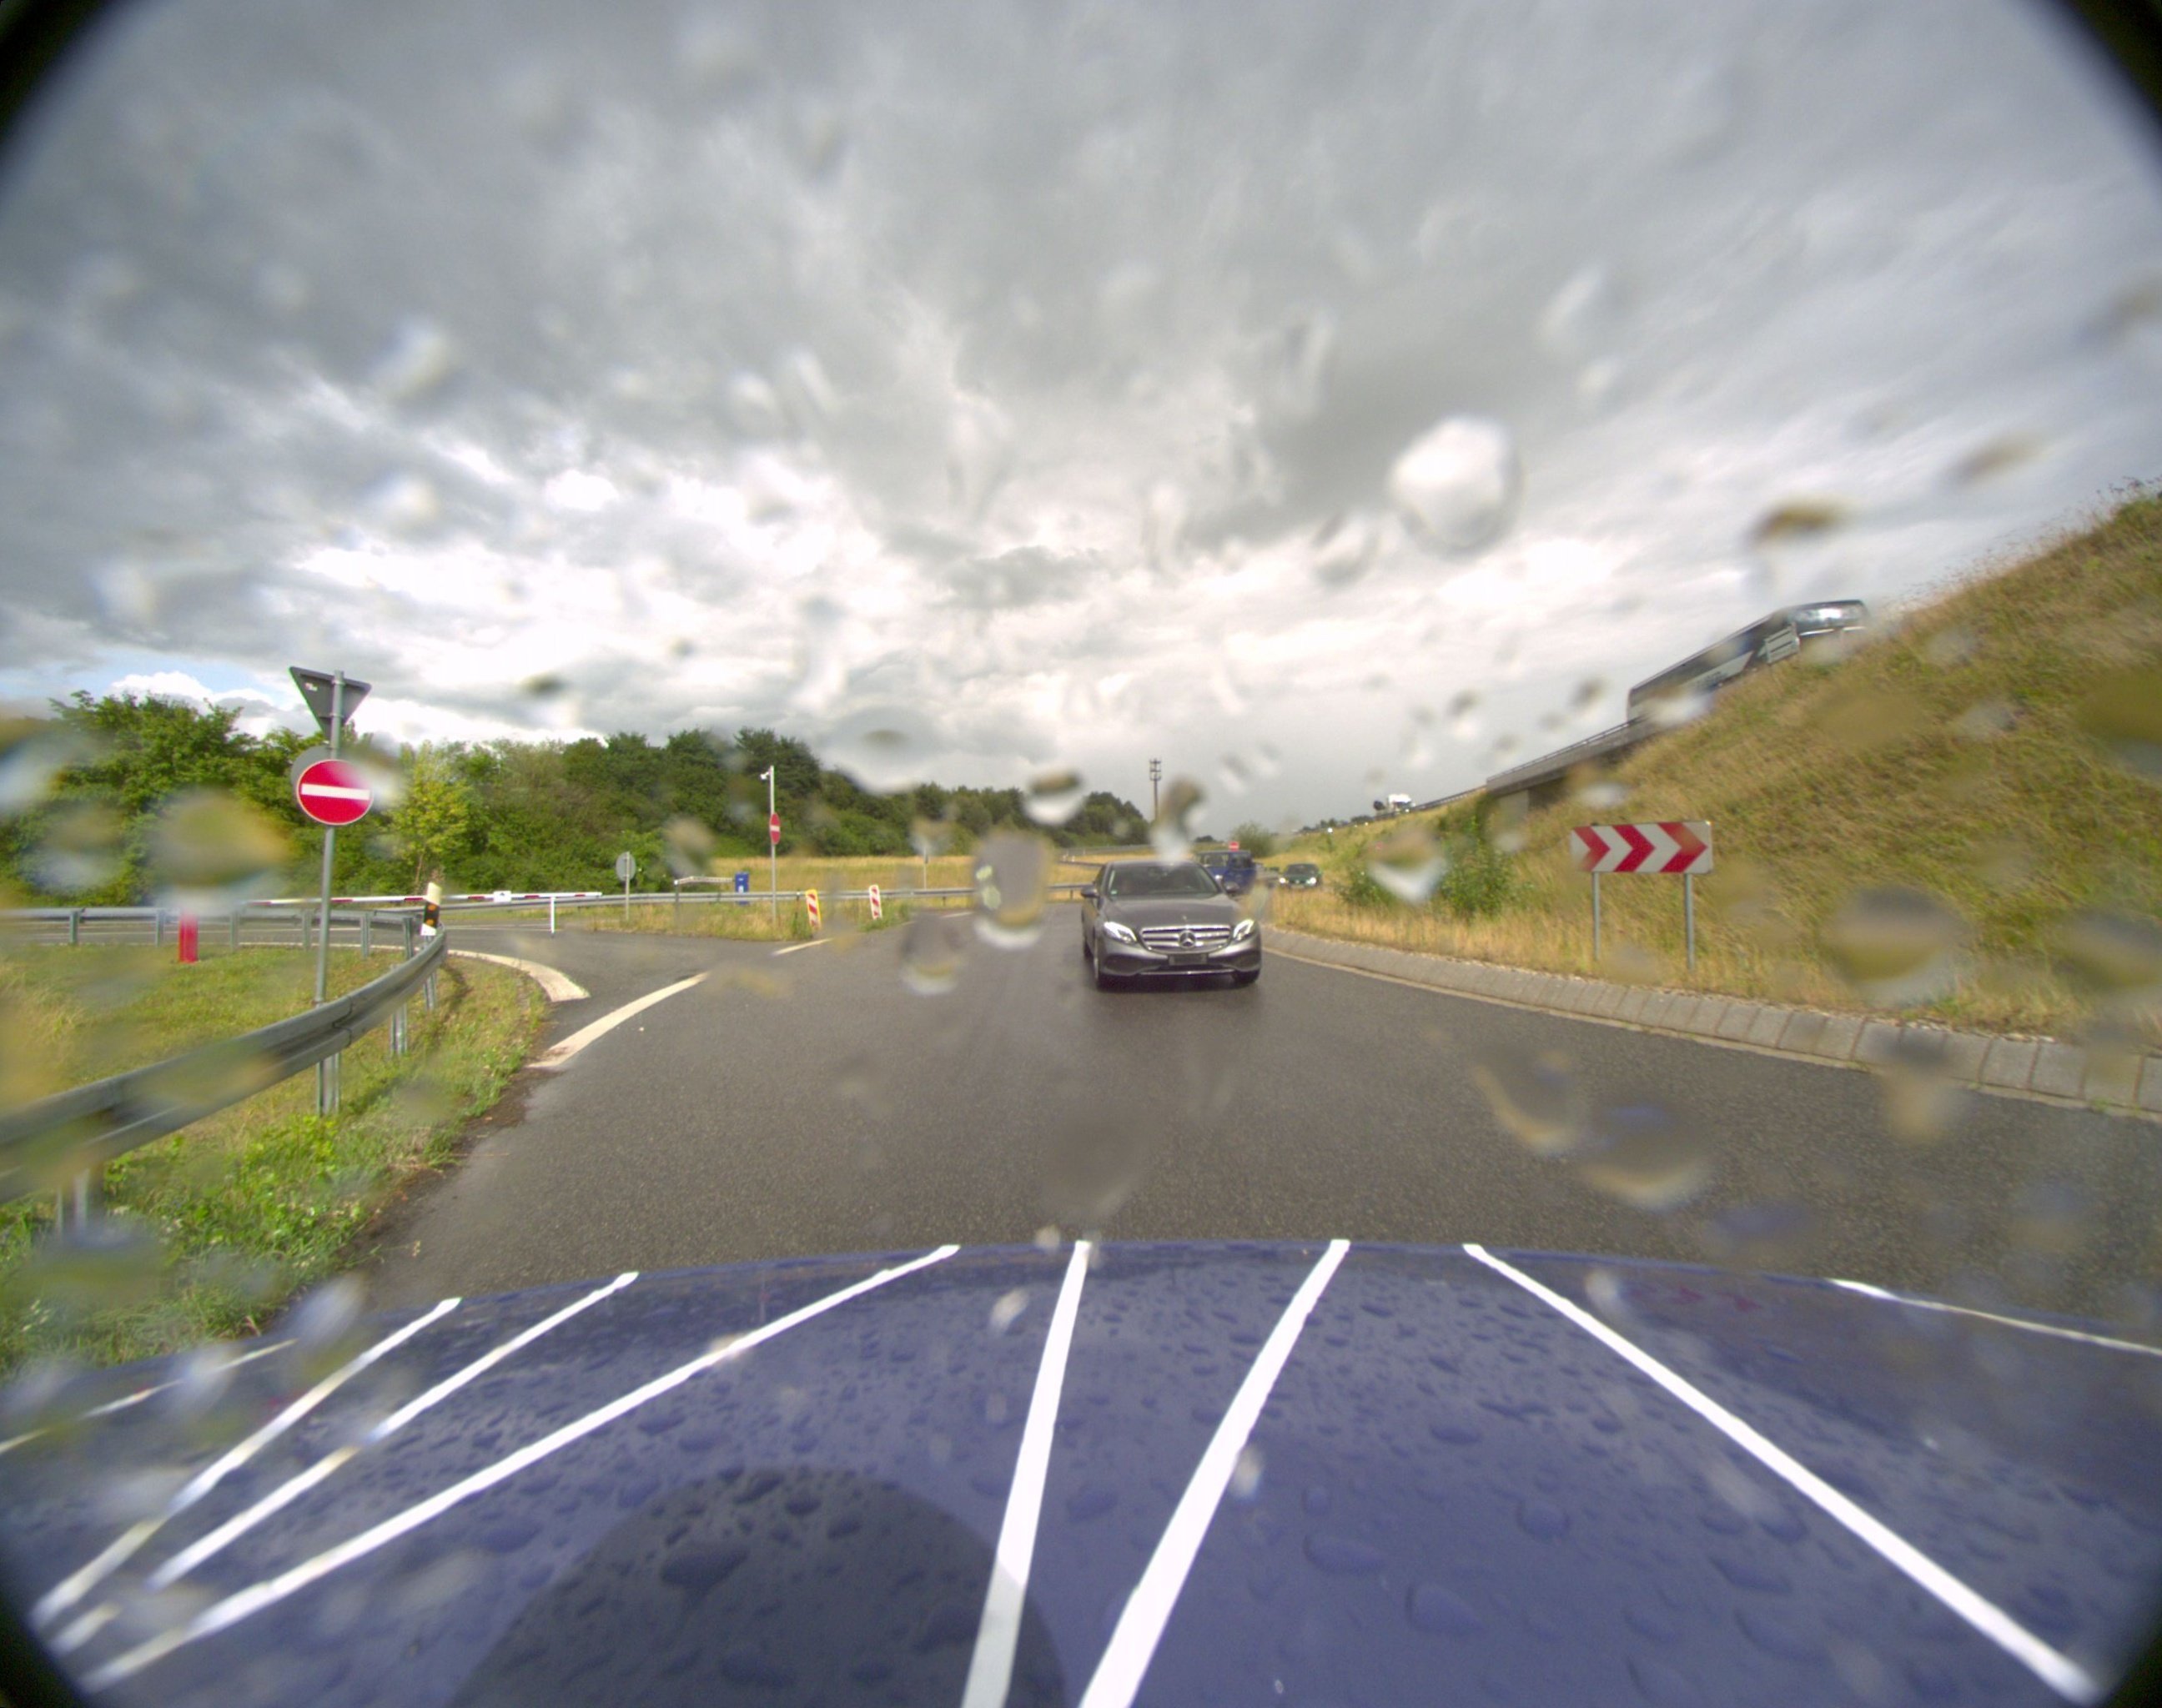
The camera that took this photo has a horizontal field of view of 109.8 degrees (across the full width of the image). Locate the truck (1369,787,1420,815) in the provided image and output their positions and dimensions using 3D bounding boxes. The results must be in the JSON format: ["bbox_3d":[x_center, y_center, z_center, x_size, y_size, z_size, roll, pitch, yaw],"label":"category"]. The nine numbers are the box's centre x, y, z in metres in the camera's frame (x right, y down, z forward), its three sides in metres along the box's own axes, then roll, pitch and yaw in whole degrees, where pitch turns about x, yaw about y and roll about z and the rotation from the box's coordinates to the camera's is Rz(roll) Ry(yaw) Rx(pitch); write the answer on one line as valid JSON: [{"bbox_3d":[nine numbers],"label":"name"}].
[{"bbox_3d":[43.490,-7.296,105.661,3.159,3.175,9.279,-2,0,0],"label":"truck"}]

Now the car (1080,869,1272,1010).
[{"bbox_3d":[0.955,0.924,9.965,1.771,1.383,4.591,-1,-2,-2],"label":"car"}]

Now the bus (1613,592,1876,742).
[{"bbox_3d":[28.200,-7.595,33.728,2.608,3.061,14.480,-2,0,15],"label":"bus"}]

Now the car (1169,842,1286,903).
[{"bbox_3d":[5.669,0.627,28.773,1.888,1.904,5.692,-3,1,38],"label":"car"}]

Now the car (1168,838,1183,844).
[{"bbox_3d":[24.269,-3.356,195.628,1.762,1.633,3.902,-2,0,43],"label":"car"}]

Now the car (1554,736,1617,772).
[{"bbox_3d":[33.362,-6.599,50.436,1.711,1.517,4.497,-12,-2,12],"label":"car"}]

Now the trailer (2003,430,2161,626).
[{"bbox_3d":[22.443,-7.039,14.385,2.182,2.854,8.342,-2,0,18],"label":"trailer"}]

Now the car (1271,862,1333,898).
[{"bbox_3d":[9.701,1.085,33.155,1.770,1.476,3.841,0,0,30],"label":"car"}]

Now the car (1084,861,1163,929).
[{"bbox_3d":[1.028,0.961,19.702,1.797,1.390,4.348,1,1,1],"label":"car"}]

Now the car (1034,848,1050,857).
[{"bbox_3d":[-7.084,-0.250,137.300,1.979,1.527,3.923,0,0,-16],"label":"car"}]
